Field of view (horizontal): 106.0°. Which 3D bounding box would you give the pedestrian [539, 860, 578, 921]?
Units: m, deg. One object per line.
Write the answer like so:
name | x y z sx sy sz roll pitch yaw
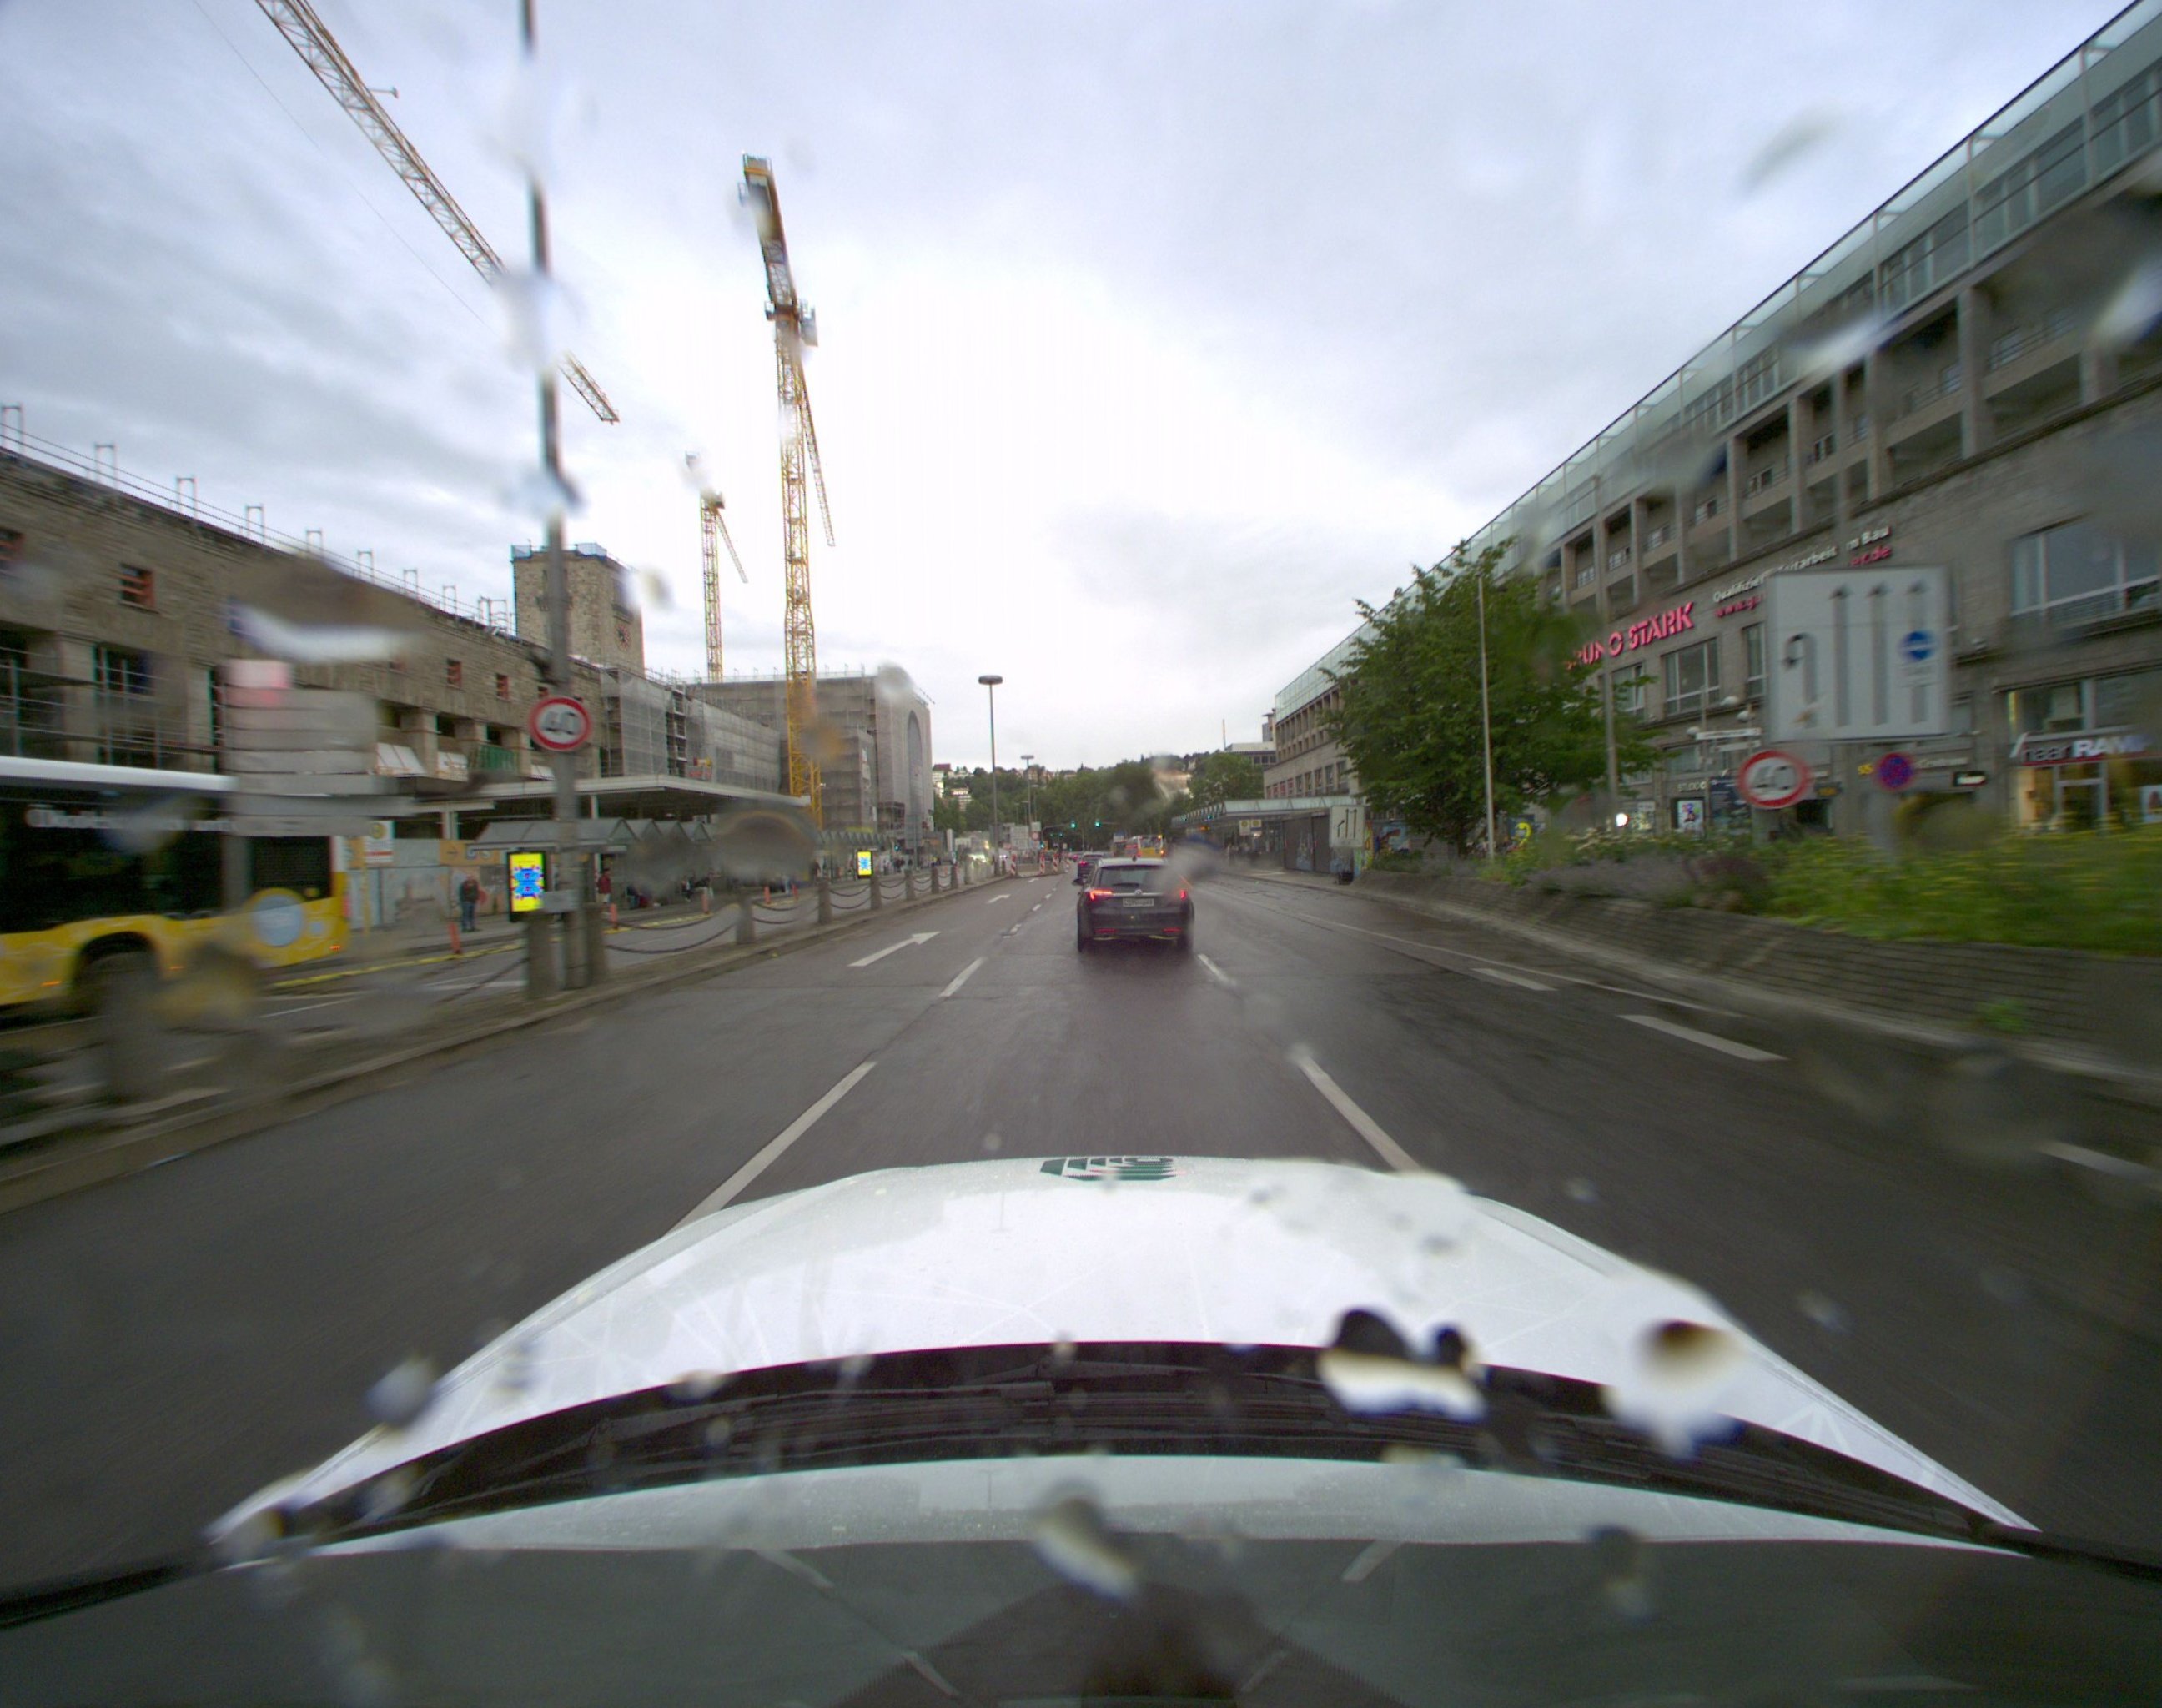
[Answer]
pedestrian | -17.350 1.191 27.054 0.757 1.959 0.822 -2 0 -3

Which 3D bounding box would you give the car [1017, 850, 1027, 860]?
car | -11.995 0.219 165.517 1.991 2.013 5.358 -1 0 -6

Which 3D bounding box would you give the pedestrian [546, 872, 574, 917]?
pedestrian | -19.383 1.499 30.296 0.555 1.630 0.803 -2 0 -8

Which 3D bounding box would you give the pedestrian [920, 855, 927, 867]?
pedestrian | -22.285 0.950 115.202 0.674 1.613 0.839 -2 0 2

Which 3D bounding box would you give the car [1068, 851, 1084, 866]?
car | -0.795 0.620 116.514 1.980 2.013 4.363 -1 0 -4

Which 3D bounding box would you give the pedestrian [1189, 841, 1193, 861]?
pedestrian | 9.920 -0.255 73.448 0.345 1.836 0.533 -2 0 3

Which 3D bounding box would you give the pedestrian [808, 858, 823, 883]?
pedestrian | -19.901 1.214 61.036 0.738 1.841 0.705 -2 0 19

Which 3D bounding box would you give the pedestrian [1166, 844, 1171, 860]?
pedestrian | 9.946 -0.223 92.632 0.441 1.836 0.578 -2 0 4

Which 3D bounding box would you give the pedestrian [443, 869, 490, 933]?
pedestrian | -17.972 1.359 23.839 0.694 1.790 0.797 -2 0 12

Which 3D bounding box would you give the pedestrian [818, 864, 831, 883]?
pedestrian | -18.426 1.418 58.521 0.697 1.326 0.805 -2 0 -2

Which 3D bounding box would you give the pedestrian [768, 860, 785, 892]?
pedestrian | -17.426 1.234 46.650 0.785 1.790 0.666 -2 0 -28

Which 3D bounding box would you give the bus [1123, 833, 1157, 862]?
bus | 6.840 -0.687 95.820 3.104 3.205 9.237 -1 0 -1

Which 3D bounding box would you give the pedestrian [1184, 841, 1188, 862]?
pedestrian | 9.493 -0.240 73.471 0.242 1.836 0.512 -2 0 3

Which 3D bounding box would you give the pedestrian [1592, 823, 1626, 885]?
pedestrian | 15.218 0.001 23.496 0.565 1.751 0.567 -2 0 -2

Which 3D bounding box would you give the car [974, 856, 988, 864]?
car | -17.725 1.064 144.999 1.987 1.468 3.999 -1 0 0

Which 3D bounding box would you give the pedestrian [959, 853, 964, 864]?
pedestrian | -20.045 0.780 136.370 0.696 1.841 0.528 -2 0 -3

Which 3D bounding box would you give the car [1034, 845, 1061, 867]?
car | -2.970 0.143 73.203 1.986 1.862 4.833 -2 0 1

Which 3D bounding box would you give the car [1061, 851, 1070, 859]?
car | -3.340 0.312 172.935 1.700 1.665 3.706 -1 0 1

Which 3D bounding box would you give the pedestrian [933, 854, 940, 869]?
pedestrian | -18.679 0.976 105.157 0.876 1.841 0.834 -2 0 -15

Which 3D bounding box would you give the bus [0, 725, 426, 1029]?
bus | -14.327 0.348 5.906 2.898 3.577 19.089 -3 0 2

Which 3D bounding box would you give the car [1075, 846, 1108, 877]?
car | 0.654 0.408 48.938 1.824 1.686 4.134 -2 0 1

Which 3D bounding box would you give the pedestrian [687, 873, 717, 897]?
pedestrian | -18.785 1.534 40.419 0.946 1.158 1.055 -2 0 0

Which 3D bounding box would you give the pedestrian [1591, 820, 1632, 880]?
pedestrian | 15.916 -0.116 24.454 0.611 1.751 0.868 -2 0 -2

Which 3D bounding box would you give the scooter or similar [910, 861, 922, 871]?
scooter or similar | -18.148 1.323 89.464 0.454 1.066 1.248 -2 0 34

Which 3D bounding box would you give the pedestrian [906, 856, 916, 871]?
pedestrian | -21.466 1.177 102.781 0.835 1.841 1.059 -2 0 3

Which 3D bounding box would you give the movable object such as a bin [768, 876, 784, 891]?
movable object such as a bin | -16.975 1.647 45.306 0.505 0.789 0.638 -3 -1 44

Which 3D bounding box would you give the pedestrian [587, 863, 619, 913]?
pedestrian | -17.654 1.259 30.068 0.723 1.790 0.746 -2 0 -6

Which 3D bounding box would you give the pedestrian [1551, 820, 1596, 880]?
pedestrian | 14.795 -0.110 24.505 0.638 1.751 1.076 -2 0 -2

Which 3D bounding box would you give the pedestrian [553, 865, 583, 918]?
pedestrian | -17.858 1.299 28.361 0.555 1.790 0.803 -2 0 -8

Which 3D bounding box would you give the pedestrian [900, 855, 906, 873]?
pedestrian | -18.641 1.042 85.178 0.507 1.841 0.703 -2 0 -6

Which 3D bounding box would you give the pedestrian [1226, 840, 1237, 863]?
pedestrian | 11.772 -0.192 63.703 0.673 1.836 0.574 -2 0 1

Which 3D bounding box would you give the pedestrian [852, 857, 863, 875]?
pedestrian | -22.496 1.202 82.039 0.854 1.841 1.045 0 0 0

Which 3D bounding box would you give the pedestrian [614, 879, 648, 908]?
pedestrian | -18.569 1.624 33.630 0.841 1.093 0.925 -2 0 -2

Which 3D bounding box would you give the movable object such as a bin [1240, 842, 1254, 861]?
movable object such as a bin | 14.389 -0.232 70.768 0.665 1.652 1.040 -2 0 -23

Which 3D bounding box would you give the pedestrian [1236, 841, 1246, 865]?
pedestrian | 12.269 -0.065 62.528 0.625 1.836 0.642 -2 0 2

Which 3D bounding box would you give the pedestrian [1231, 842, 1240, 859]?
pedestrian | 15.205 -0.342 80.069 0.745 1.695 0.902 -2 0 3

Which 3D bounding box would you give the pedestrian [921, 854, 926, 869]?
pedestrian | -20.462 0.959 105.987 0.571 1.841 0.701 -2 0 -14

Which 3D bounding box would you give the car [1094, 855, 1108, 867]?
car | 2.688 0.985 109.893 1.669 1.581 3.237 -1 0 -1

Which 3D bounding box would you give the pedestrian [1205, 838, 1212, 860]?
pedestrian | 12.900 -0.473 82.495 0.588 2.215 0.587 -2 0 1

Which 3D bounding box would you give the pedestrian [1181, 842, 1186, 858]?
pedestrian | 11.855 -0.515 94.157 0.563 1.836 0.570 -2 0 3

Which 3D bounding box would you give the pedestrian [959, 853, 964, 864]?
pedestrian | -20.072 0.705 137.077 0.696 1.841 0.877 -1 0 -3

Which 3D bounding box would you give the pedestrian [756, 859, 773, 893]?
pedestrian | -17.386 1.204 44.767 0.682 1.848 0.550 -2 0 -45

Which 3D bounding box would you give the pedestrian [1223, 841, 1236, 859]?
pedestrian | 15.191 -0.399 83.416 0.791 1.804 0.983 -2 0 -29

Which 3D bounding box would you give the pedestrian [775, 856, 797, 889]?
pedestrian | -16.077 1.004 44.441 0.771 1.790 0.862 -2 0 7

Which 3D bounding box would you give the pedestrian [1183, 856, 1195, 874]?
pedestrian | 10.430 1.051 78.817 0.762 1.690 0.992 -2 0 -21

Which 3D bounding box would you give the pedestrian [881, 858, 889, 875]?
pedestrian | -22.288 1.429 92.508 0.718 1.841 0.612 -2 0 3

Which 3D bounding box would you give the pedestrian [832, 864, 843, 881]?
pedestrian | -22.761 1.710 76.195 0.801 1.547 0.700 -2 0 -6

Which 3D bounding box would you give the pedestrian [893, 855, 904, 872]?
pedestrian | -19.600 1.030 87.659 0.695 1.841 0.883 -2 0 28

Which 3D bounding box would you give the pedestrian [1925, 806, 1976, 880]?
pedestrian | 21.107 -0.261 19.777 0.530 1.751 0.636 -2 0 -2

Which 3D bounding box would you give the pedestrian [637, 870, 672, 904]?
pedestrian | -18.646 1.429 35.645 1.052 1.432 0.830 -2 0 -2

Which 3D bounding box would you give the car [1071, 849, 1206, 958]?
car | 0.873 0.694 14.002 1.871 1.508 4.853 -2 0 1

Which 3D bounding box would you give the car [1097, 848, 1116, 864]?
car | 2.886 0.227 91.903 1.847 1.717 3.996 -1 0 -3

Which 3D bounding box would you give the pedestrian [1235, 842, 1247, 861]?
pedestrian | 14.061 -0.216 71.559 0.763 1.654 0.674 -2 0 -24

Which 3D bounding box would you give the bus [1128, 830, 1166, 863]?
bus | 6.919 -0.745 86.654 3.131 3.247 9.133 -1 0 0
